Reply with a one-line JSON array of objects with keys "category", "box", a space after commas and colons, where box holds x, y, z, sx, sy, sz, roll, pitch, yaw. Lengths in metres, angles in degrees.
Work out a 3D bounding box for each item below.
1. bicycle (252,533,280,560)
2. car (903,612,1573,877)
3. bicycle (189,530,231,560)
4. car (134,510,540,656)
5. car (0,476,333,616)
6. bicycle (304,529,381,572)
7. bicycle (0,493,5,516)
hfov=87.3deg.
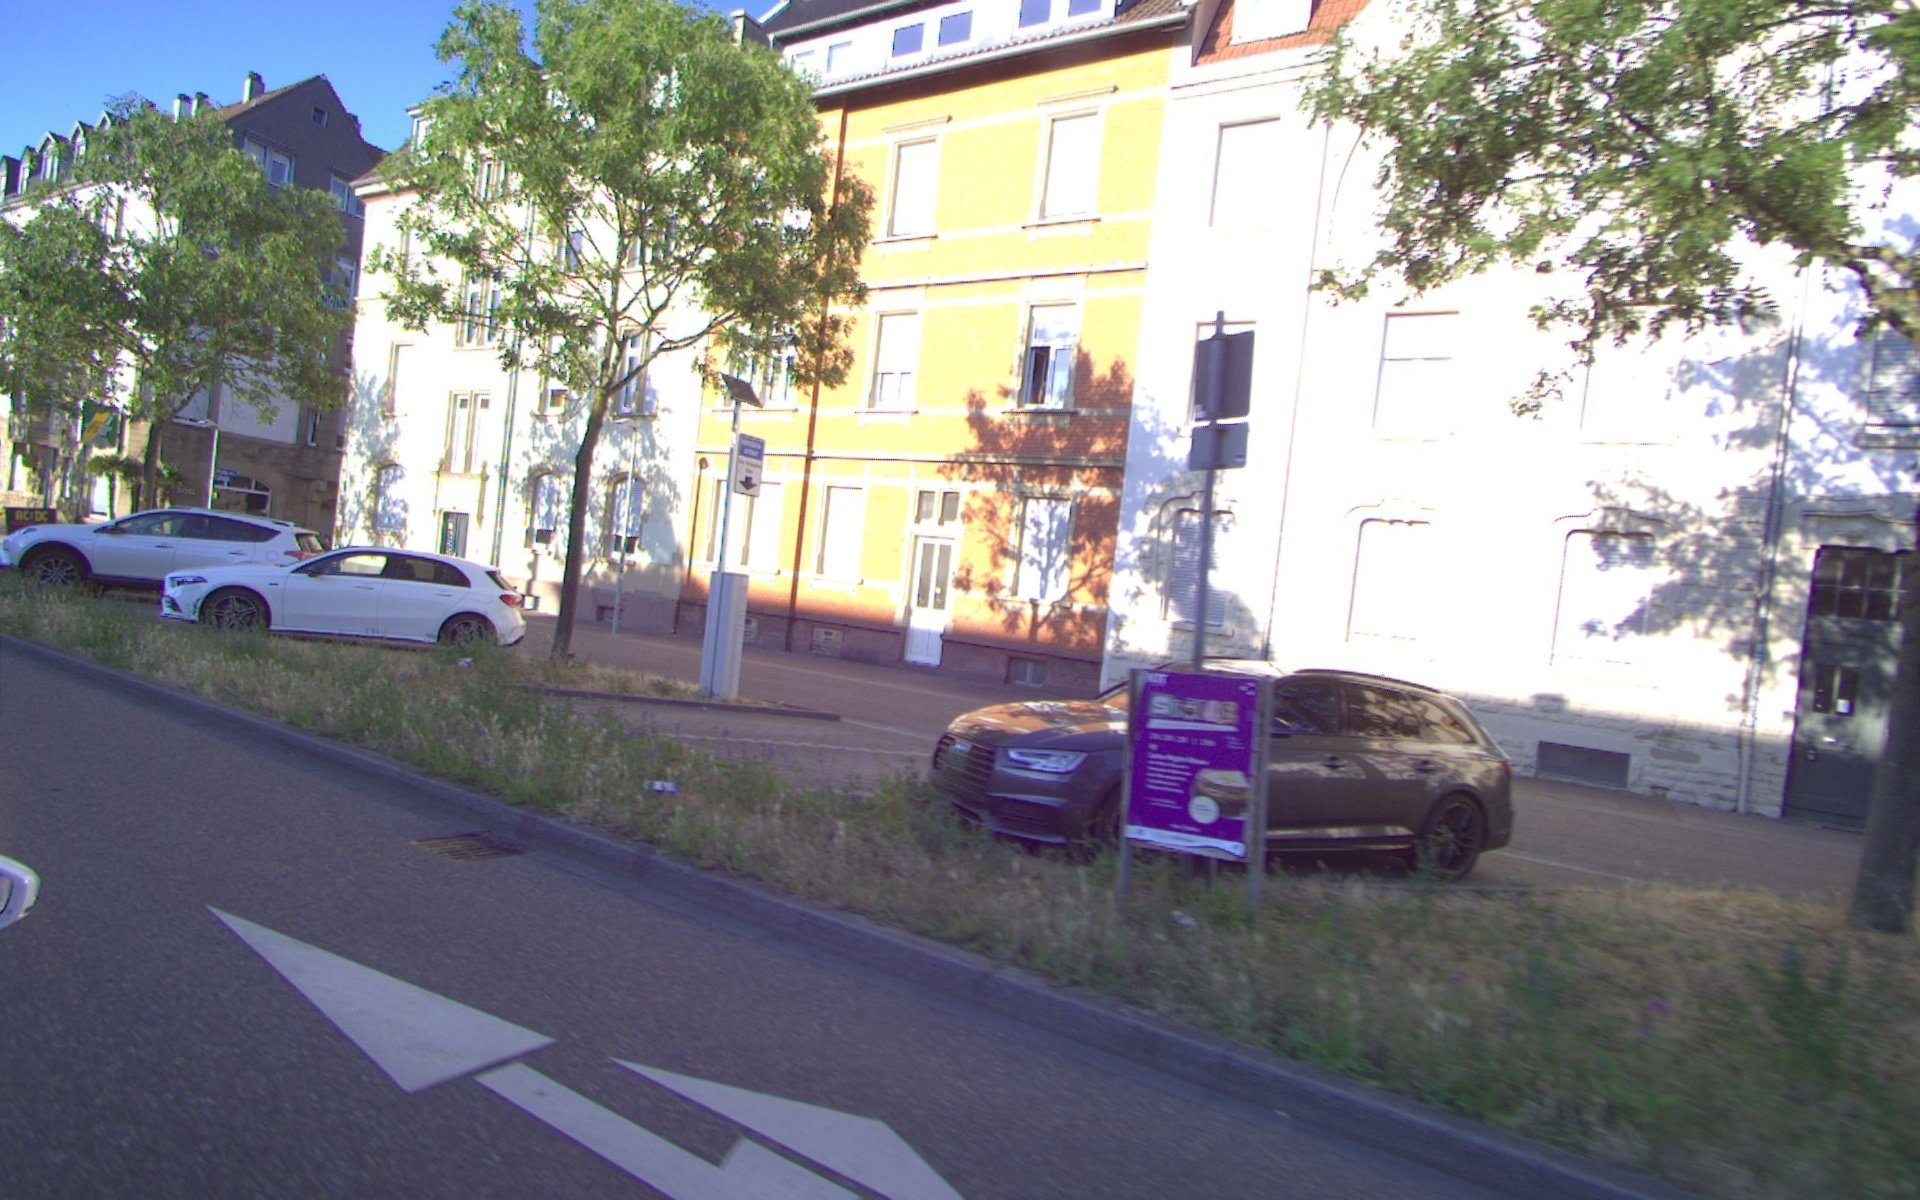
[{"category": "bicycle", "box": [-29.090, -2.243, 42.183, 0.626, 0.959, 1.861, 7, 1, -43]}, {"category": "car", "box": [2.079, 1.054, 7.360, 4.526, 1.365, 1.884, 7, 0, -26]}, {"category": "bicycle", "box": [-24.791, -1.816, 33.246, 1.853, 0.885, 0.459, 6, 6, 32]}, {"category": "car", "box": [-8.540, -0.184, 14.283, 4.502, 1.416, 2.017, 7, -1, -28]}, {"category": "car", "box": [-13.587, -0.875, 17.303, 4.375, 1.712, 1.905, 7, 0, -24]}, {"category": "bicycle", "box": [-23.315, -1.851, 38.033, 0.718, 1.336, 2.353, 7, 0, 28]}, {"category": "bicycle", "box": [-46.071, -4.608, 47.758, 1.865, 1.087, 0.572, 7, 2, 32]}]
